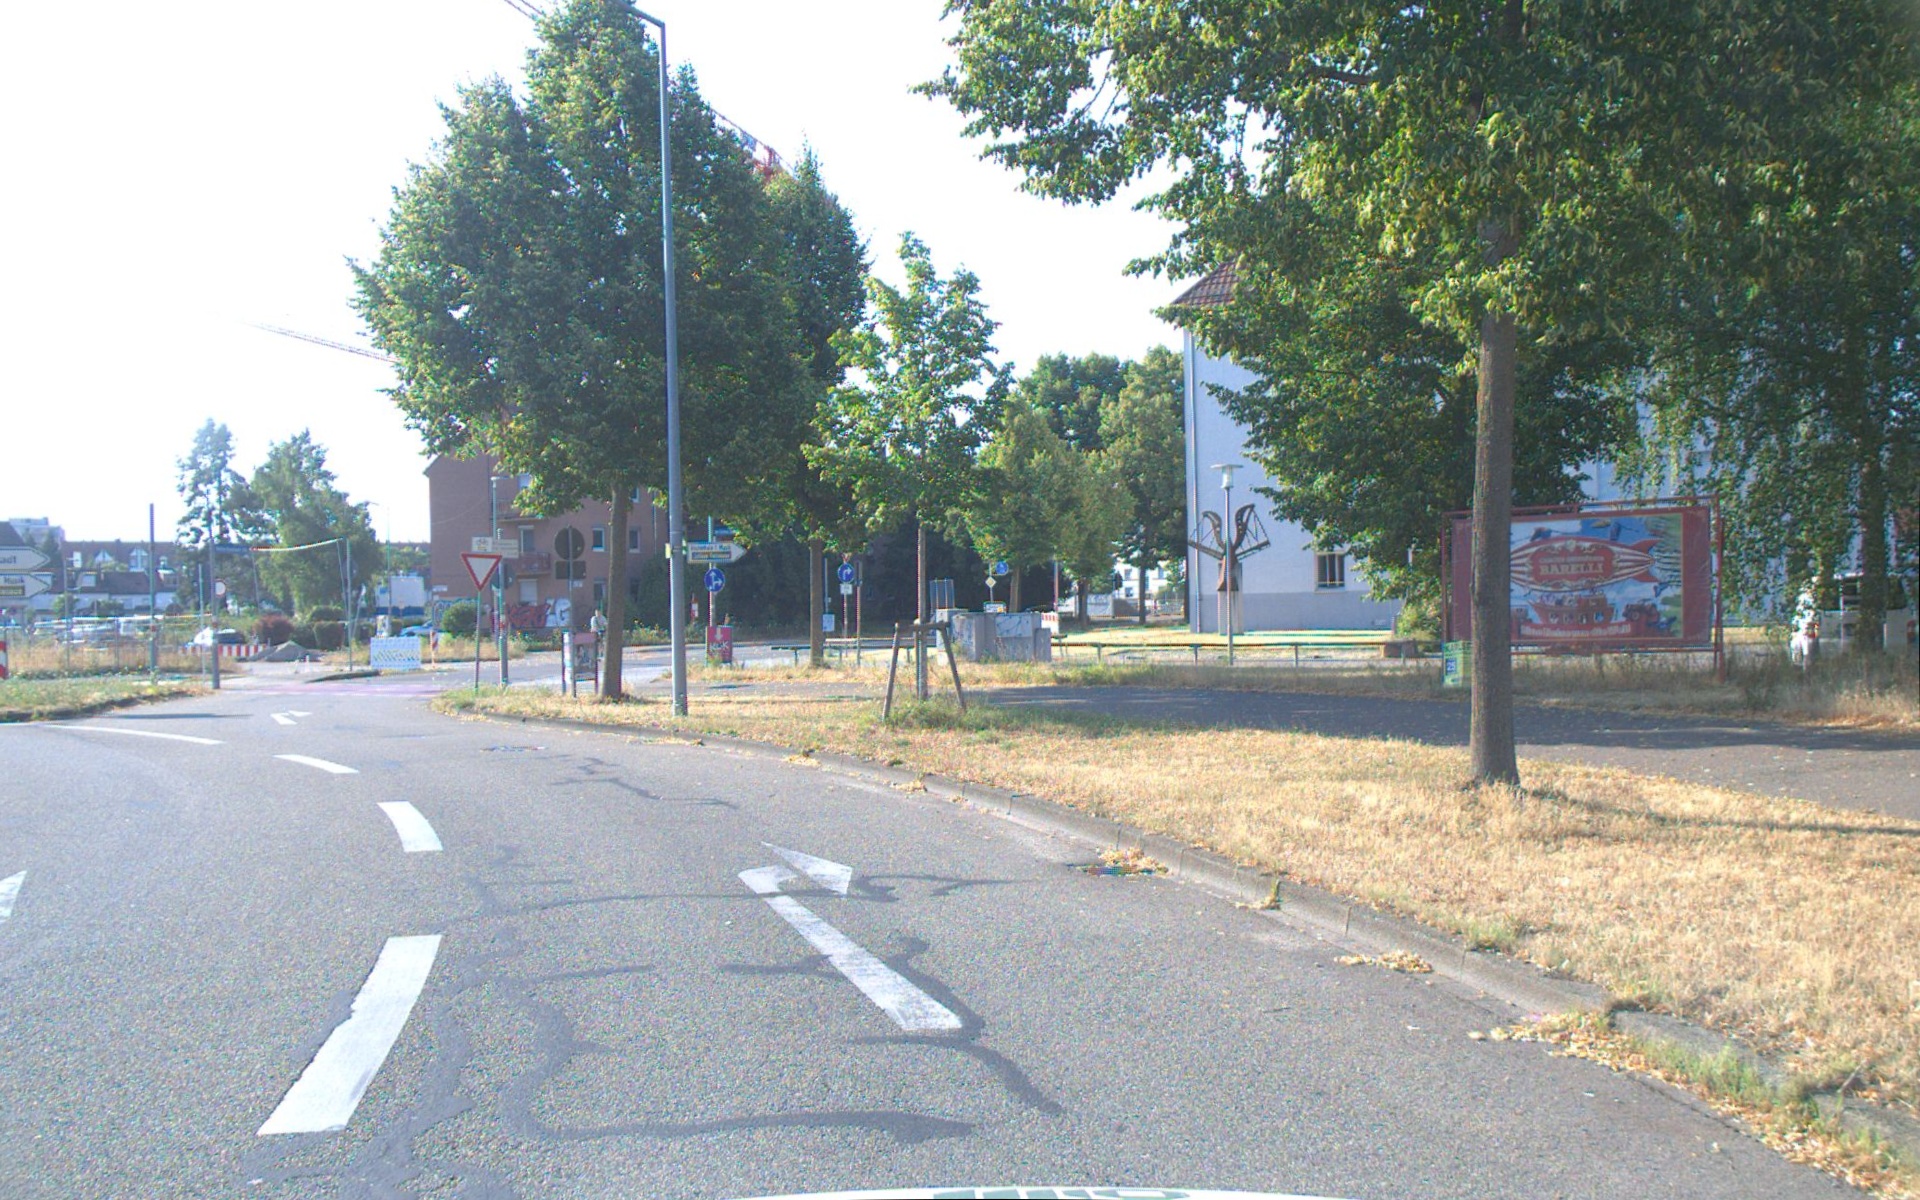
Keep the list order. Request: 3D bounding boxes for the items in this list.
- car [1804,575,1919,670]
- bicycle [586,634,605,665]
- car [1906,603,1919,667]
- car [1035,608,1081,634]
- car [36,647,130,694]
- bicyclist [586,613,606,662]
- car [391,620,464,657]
[{"bbox_3d":[16.734,0.399,30.830,1.737,1.646,3.964,-1,-1,27],"label":"car"},{"bbox_3d":[-12.106,1.642,55.001,0.586,0.980,2.099,-1,-1,-12],"label":"bicycle"},{"bbox_3d":[19.985,0.659,33.125,1.570,1.202,3.964,-1,-1,27],"label":"car"},{"bbox_3d":[6.020,1.280,101.107,1.552,1.467,3.549,-2,-1,26],"label":"car"},{"bbox_3d":[-40.285,3.245,75.949,3.728,2.049,1.673,-1,-1,18],"label":"car"},{"bbox_3d":[-12.143,1.243,55.147,0.646,1.589,0.891,-1,-1,-13],"label":"bicyclist"},{"bbox_3d":[-30.935,2.221,96.095,3.728,2.049,1.673,-1,-1,18],"label":"car"}]
